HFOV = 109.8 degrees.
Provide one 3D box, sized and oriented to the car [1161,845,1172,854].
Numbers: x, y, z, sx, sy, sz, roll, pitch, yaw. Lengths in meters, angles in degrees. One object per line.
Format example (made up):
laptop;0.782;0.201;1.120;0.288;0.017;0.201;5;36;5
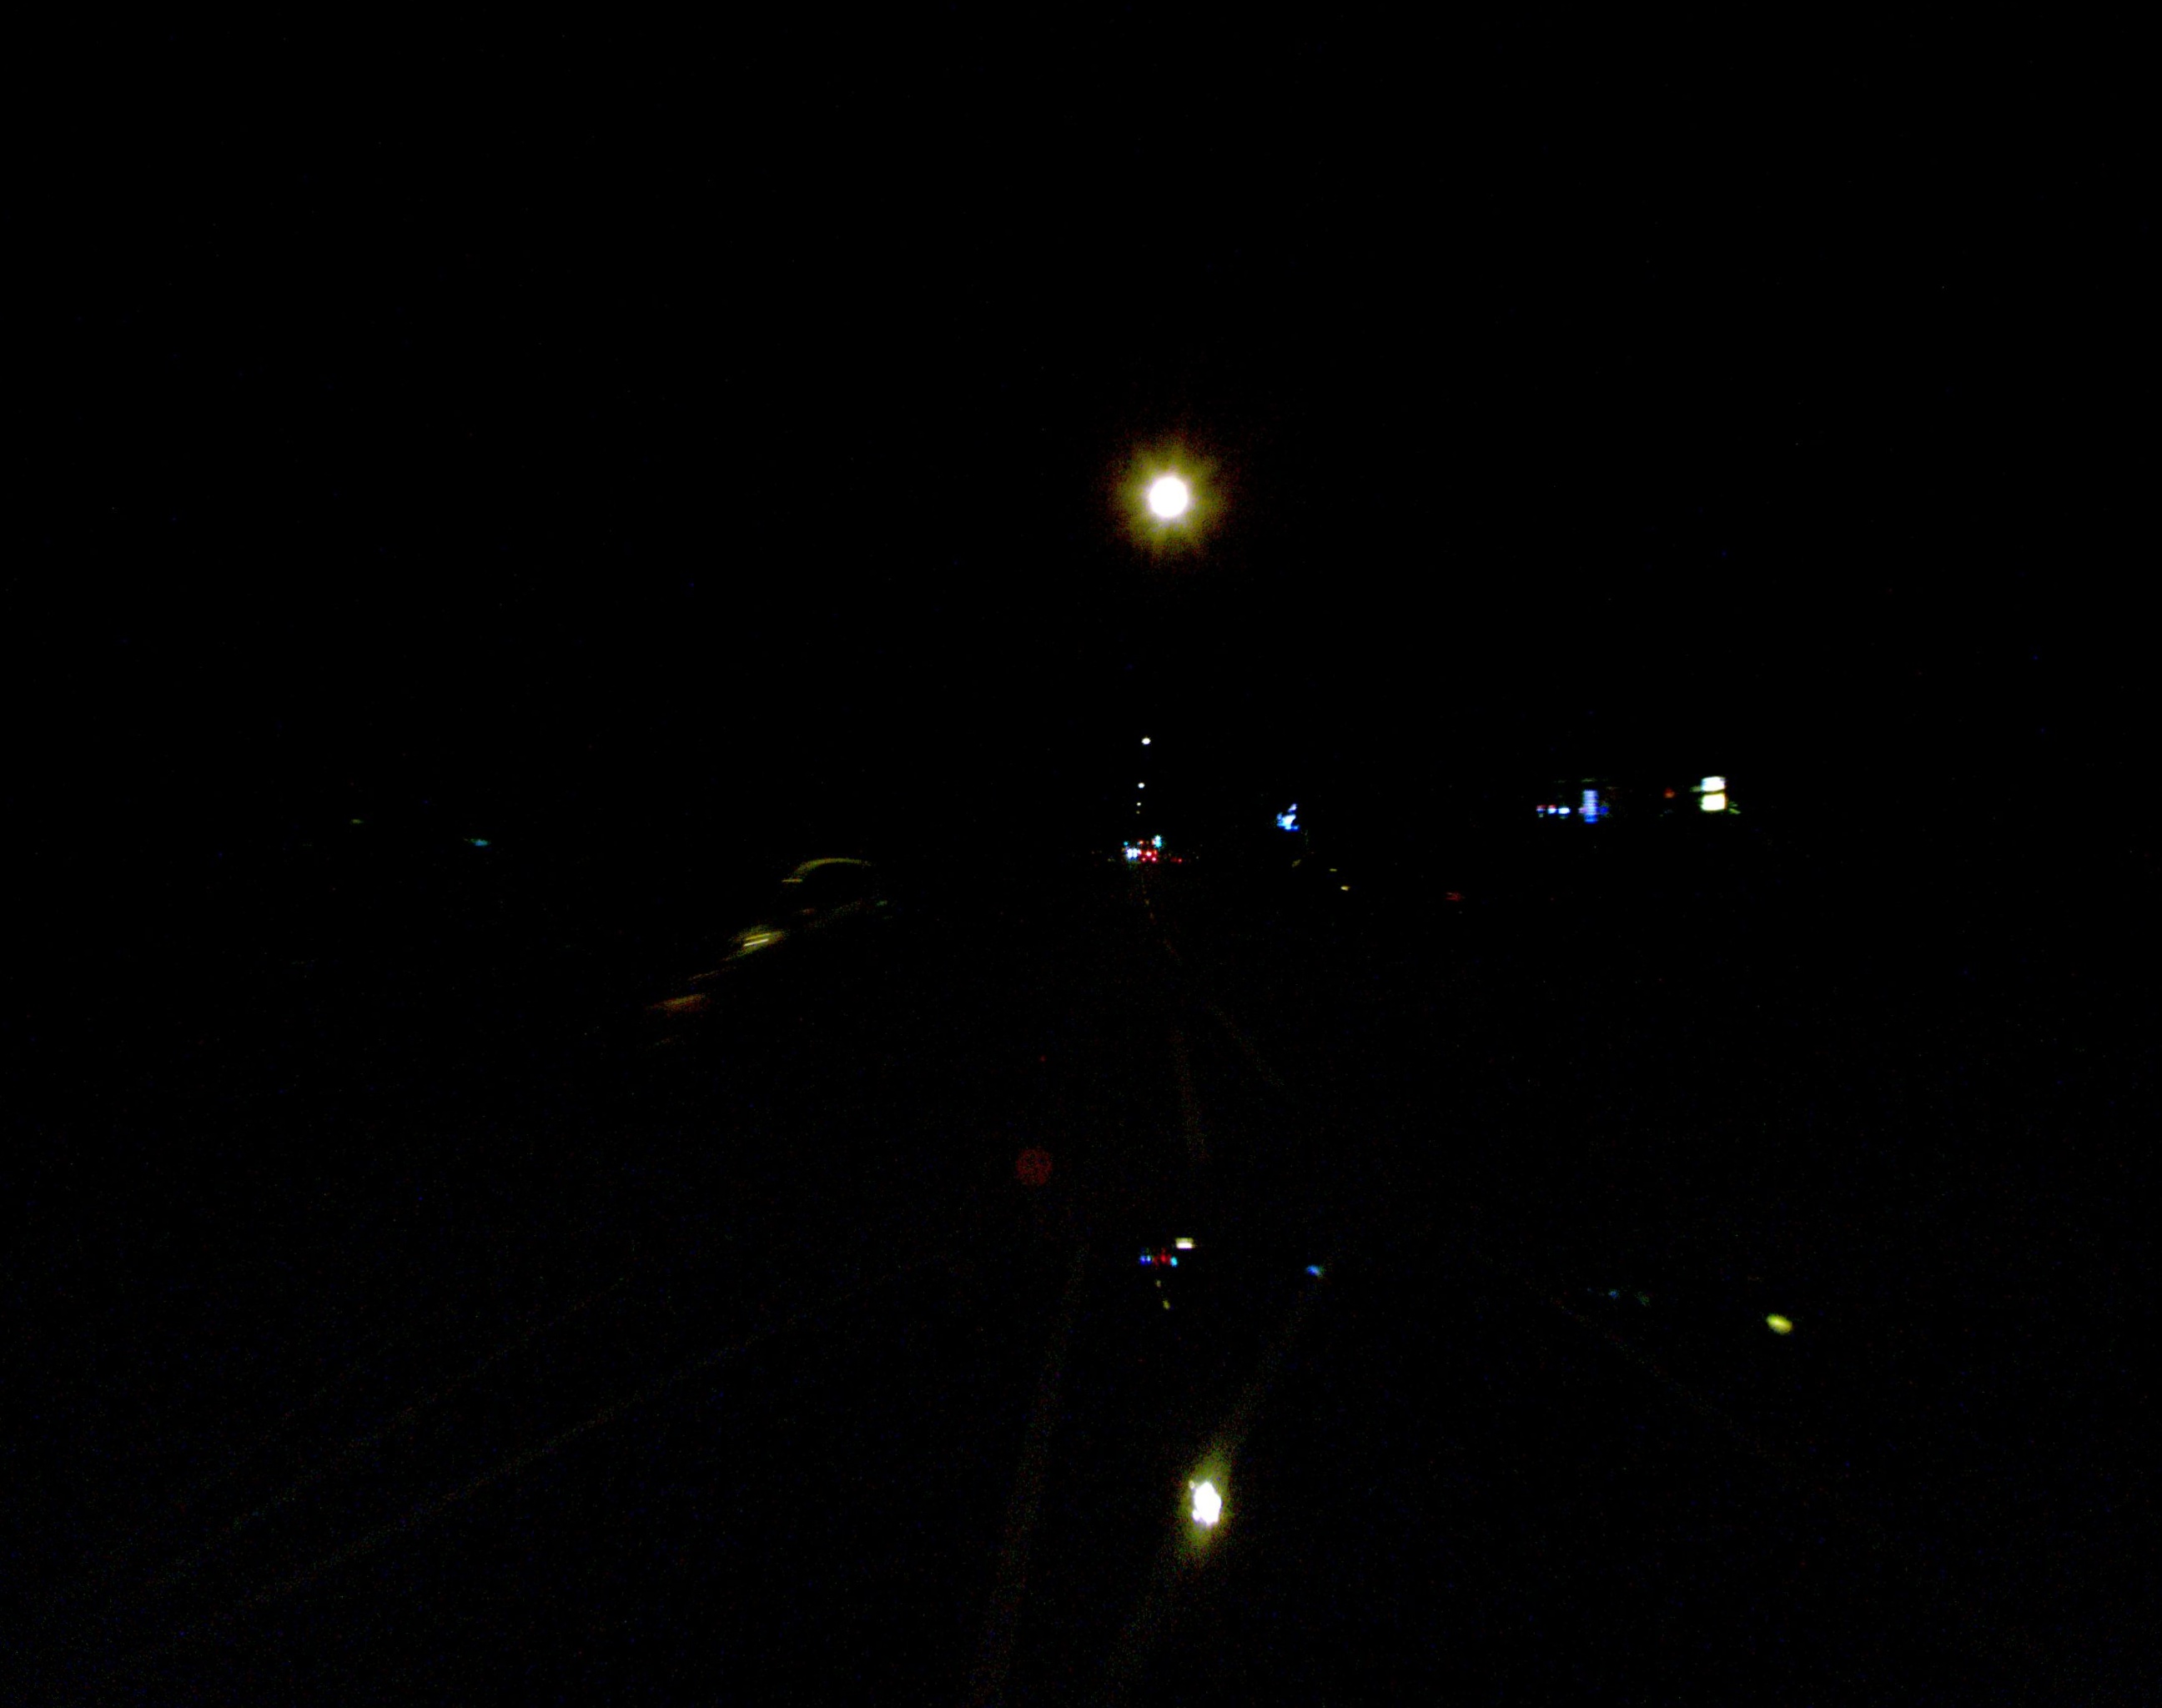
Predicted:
car;15.547;-0.827;138.365;1.873;1.551;4.354;-2;0;5

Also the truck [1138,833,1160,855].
truck;10.670;-1.560;120.256;3.221;3.360;8.852;-2;0;5

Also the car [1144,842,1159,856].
car;9.070;-0.659;97.633;1.873;1.635;4.001;-2;0;5

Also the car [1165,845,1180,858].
car;12.447;-0.342;103.447;1.873;1.551;4.354;-2;0;5

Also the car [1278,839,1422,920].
car;5.720;0.476;16.684;1.864;1.458;3.897;-4;0;3

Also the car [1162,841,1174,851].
car;14.680;-1.323;128.277;1.873;1.551;4.354;-2;0;5

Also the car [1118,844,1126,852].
car;9.664;-1.425;178.822;1.792;1.829;3.846;-2;0;3

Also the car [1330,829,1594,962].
car;5.467;0.501;11.708;1.864;1.524;4.588;-4;0;3

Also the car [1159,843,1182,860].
car;9.261;-0.248;78.811;1.873;1.635;4.000;-2;0;1

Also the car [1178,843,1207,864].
car;9.354;-0.079;64.174;1.873;1.635;4.000;-2;0;1

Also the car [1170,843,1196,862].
car;9.441;-0.131;70.309;1.873;1.635;4.000;-2;0;1

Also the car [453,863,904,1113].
car;-3.253;0.927;7.325;1.741;1.588;4.360;0;1;5

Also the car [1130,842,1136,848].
car;15.289;-2.734;223.213;1.774;1.672;3.815;-2;1;4

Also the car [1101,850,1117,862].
car;3.520;0.260;94.638;1.873;1.407;4.000;-2;0;3

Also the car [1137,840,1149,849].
car;11.069;-1.740;135.632;1.772;1.526;3.897;-2;0;1

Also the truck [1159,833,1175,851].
truck;12.934;-1.821;114.289;2.084;2.562;6.875;-2;0;5

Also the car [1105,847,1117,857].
car;4.946;-0.333;123.700;1.873;1.407;4.000;-2;0;3

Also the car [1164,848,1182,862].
car;11.021;0.147;91.050;1.873;1.551;4.001;-2;0;5

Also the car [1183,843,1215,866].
car;9.243;0.021;59.710;1.873;1.635;4.000;-2;0;1

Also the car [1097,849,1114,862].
car;2.810;0.116;86.951;1.873;1.407;4.000;-2;0;3
